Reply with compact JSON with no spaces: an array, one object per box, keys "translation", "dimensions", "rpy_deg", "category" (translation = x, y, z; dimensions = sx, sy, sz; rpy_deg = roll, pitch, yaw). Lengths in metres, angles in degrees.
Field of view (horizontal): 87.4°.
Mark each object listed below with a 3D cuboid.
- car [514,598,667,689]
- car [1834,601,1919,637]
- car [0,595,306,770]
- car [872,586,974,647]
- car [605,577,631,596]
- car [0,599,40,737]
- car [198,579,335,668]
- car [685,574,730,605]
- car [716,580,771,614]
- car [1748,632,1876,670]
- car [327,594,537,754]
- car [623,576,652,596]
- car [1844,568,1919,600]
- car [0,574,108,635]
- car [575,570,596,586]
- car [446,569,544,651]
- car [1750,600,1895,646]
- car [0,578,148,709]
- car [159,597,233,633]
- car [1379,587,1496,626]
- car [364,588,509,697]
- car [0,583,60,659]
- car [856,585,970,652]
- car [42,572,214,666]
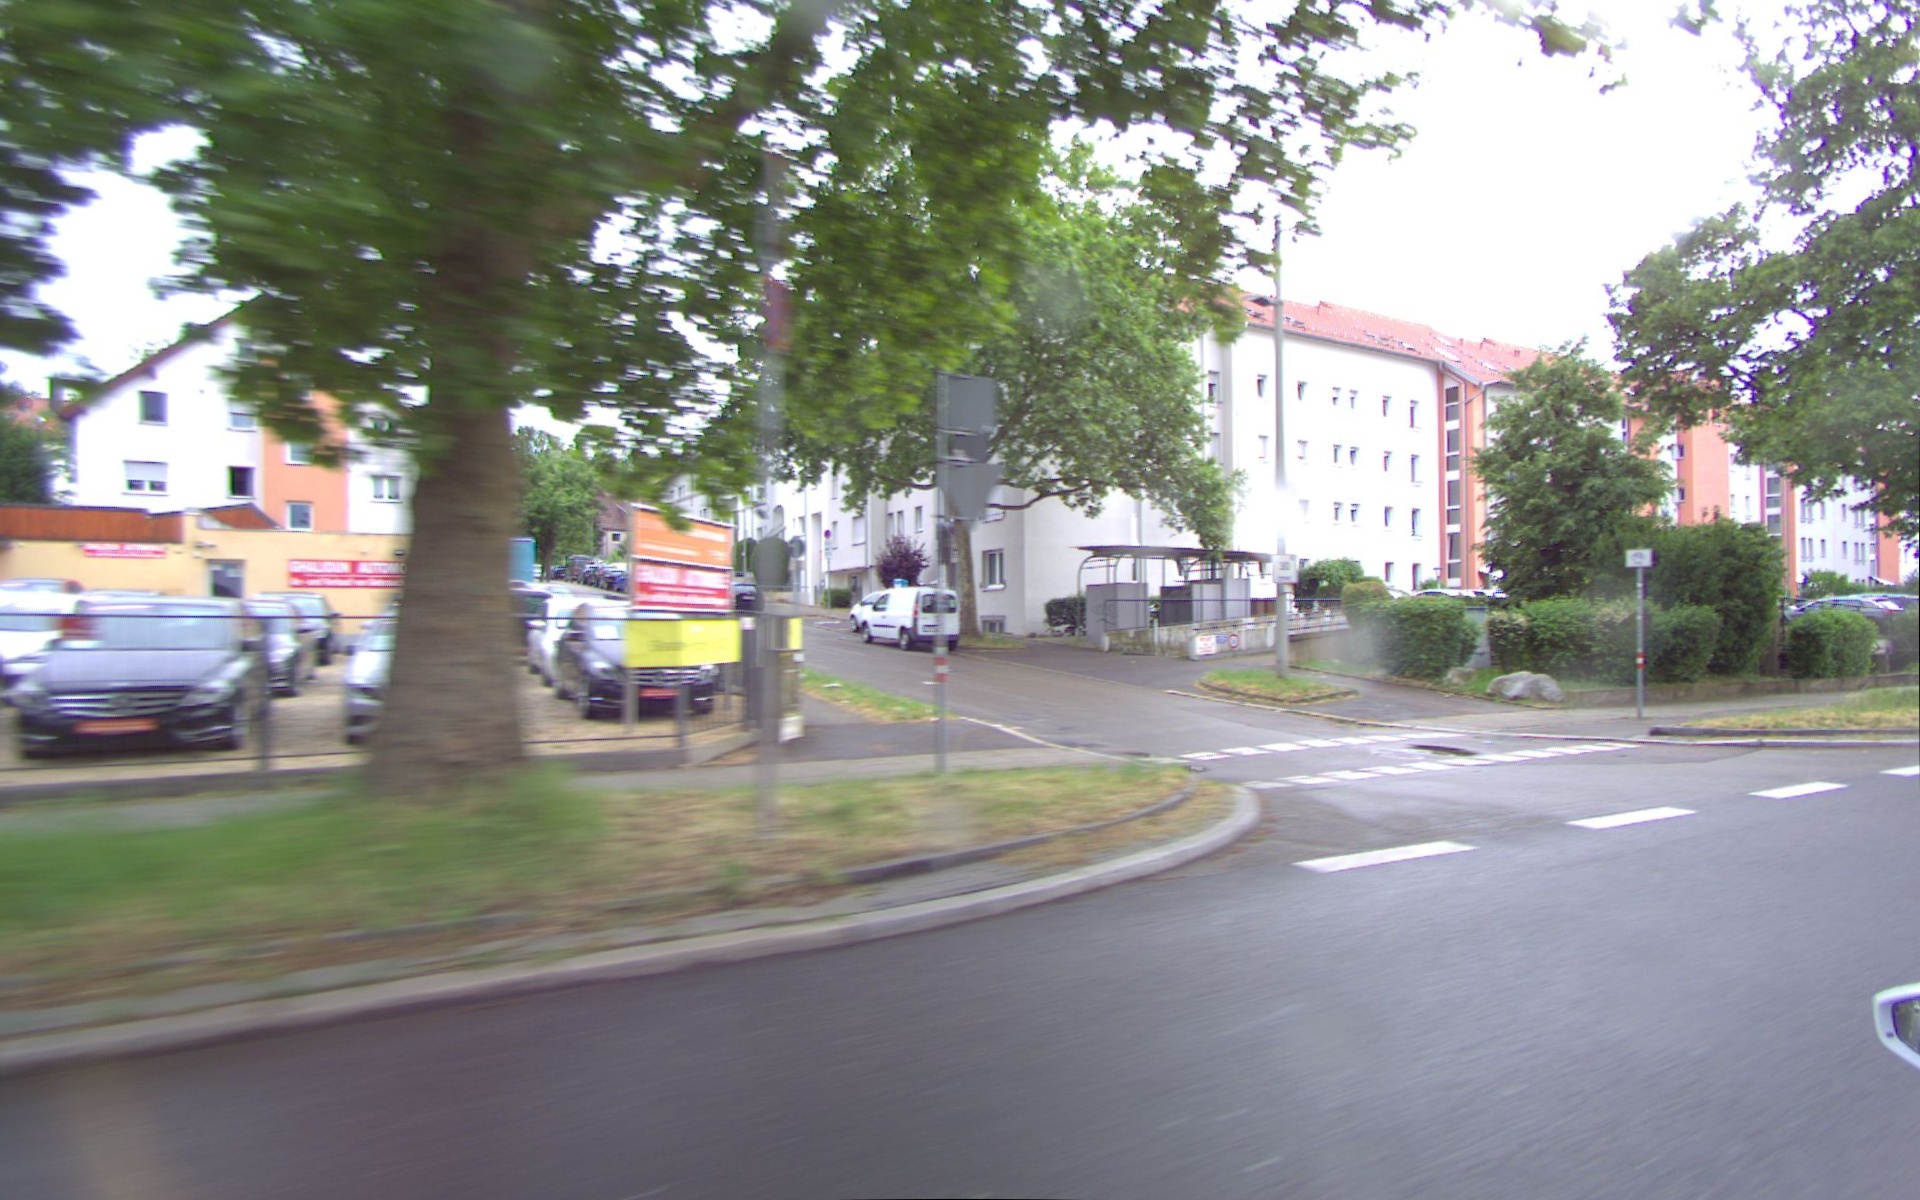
[{"translation":[-7.147,0.772,19.181],"dimensions":[1.977,1.516,4.146],"rpy_deg":[3,-1,-31],"category":"car"},{"translation":[37.711,0.774,39.946],"dimensions":[1.788,1.320,4.069],"rpy_deg":[3,-1,-29],"category":"car"},{"translation":[-8.813,0.747,11.209],"dimensions":[1.973,1.559,4.193],"rpy_deg":[1,0,-26],"category":"car"},{"translation":[-1.379,0.533,35.543],"dimensions":[1.859,1.801,3.968],"rpy_deg":[7,-1,-30],"category":"car"},{"translation":[-23.294,-0.925,68.434],"dimensions":[1.226,1.206,2.487],"rpy_deg":[3,0,-29],"category":"car"},{"translation":[-11.133,0.755,9.950],"dimensions":[1.933,1.518,4.082],"rpy_deg":[1,0,-27],"category":"car"},{"translation":[-14.736,0.463,21.568],"dimensions":[1.863,1.706,3.971],"rpy_deg":[3,-1,-27],"category":"car"},{"translation":[-12.415,-0.518,49.340],"dimensions":[1.375,1.424,2.951],"rpy_deg":[3,0,-29],"category":"car"},{"translation":[-9.664,-0.147,44.719],"dimensions":[1.551,1.424,2.951],"rpy_deg":[3,0,-29],"category":"car"},{"translation":[36.869,2.192,43.560],"dimensions":[1.571,1.423,3.950],"rpy_deg":[3,-1,-29],"category":"car"},{"translation":[-6.731,0.796,12.683],"dimensions":[1.960,1.559,4.185],"rpy_deg":[3,0,-31],"category":"car"},{"translation":[-20.292,-0.895,63.218],"dimensions":[1.226,1.137,2.487],"rpy_deg":[3,0,-29],"category":"car"},{"translation":[52.103,-0.884,56.068],"dimensions":[1.699,1.623,3.790],"rpy_deg":[3,-1,-31],"category":"car"},{"translation":[-22.591,0.082,24.819],"dimensions":[1.564,1.371,3.412],"rpy_deg":[3,-1,-27],"category":"car"},{"translation":[-30.939,-1.814,82.953],"dimensions":[1.226,1.206,2.487],"rpy_deg":[3,0,-29],"category":"car"},{"translation":[-10.901,0.215,23.398],"dimensions":[1.863,1.706,3.971],"rpy_deg":[3,-1,-27],"category":"car"},{"translation":[31.434,0.807,36.681],"dimensions":[1.877,1.518,3.631],"rpy_deg":[3,-1,-33],"category":"car"},{"translation":[-13.810,0.562,14.929],"dimensions":[1.863,1.706,3.971],"rpy_deg":[3,-1,-27],"category":"car"},{"translation":[-25.772,0.493,33.956],"dimensions":[1.445,1.063,2.916],"rpy_deg":[4,-1,-27],"category":"car"},{"translation":[19.232,0.232,40.601],"dimensions":[1.825,1.433,3.972],"rpy_deg":[3,-1,-27],"category":"car"},{"translation":[-9.294,0.686,17.693],"dimensions":[1.977,1.675,3.967],"rpy_deg":[3,-1,-31],"category":"car"},{"translation":[-20.492,0.394,20.895],"dimensions":[1.682,1.470,3.789],"rpy_deg":[3,-1,-27],"category":"car"},{"translation":[-1.513,0.524,30.854],"dimensions":[1.858,1.802,3.968],"rpy_deg":[3,1,-30],"category":"car"},{"translation":[-17.012,0.357,20.764],"dimensions":[1.863,1.706,3.971],"rpy_deg":[3,-1,-27],"category":"car"}]
